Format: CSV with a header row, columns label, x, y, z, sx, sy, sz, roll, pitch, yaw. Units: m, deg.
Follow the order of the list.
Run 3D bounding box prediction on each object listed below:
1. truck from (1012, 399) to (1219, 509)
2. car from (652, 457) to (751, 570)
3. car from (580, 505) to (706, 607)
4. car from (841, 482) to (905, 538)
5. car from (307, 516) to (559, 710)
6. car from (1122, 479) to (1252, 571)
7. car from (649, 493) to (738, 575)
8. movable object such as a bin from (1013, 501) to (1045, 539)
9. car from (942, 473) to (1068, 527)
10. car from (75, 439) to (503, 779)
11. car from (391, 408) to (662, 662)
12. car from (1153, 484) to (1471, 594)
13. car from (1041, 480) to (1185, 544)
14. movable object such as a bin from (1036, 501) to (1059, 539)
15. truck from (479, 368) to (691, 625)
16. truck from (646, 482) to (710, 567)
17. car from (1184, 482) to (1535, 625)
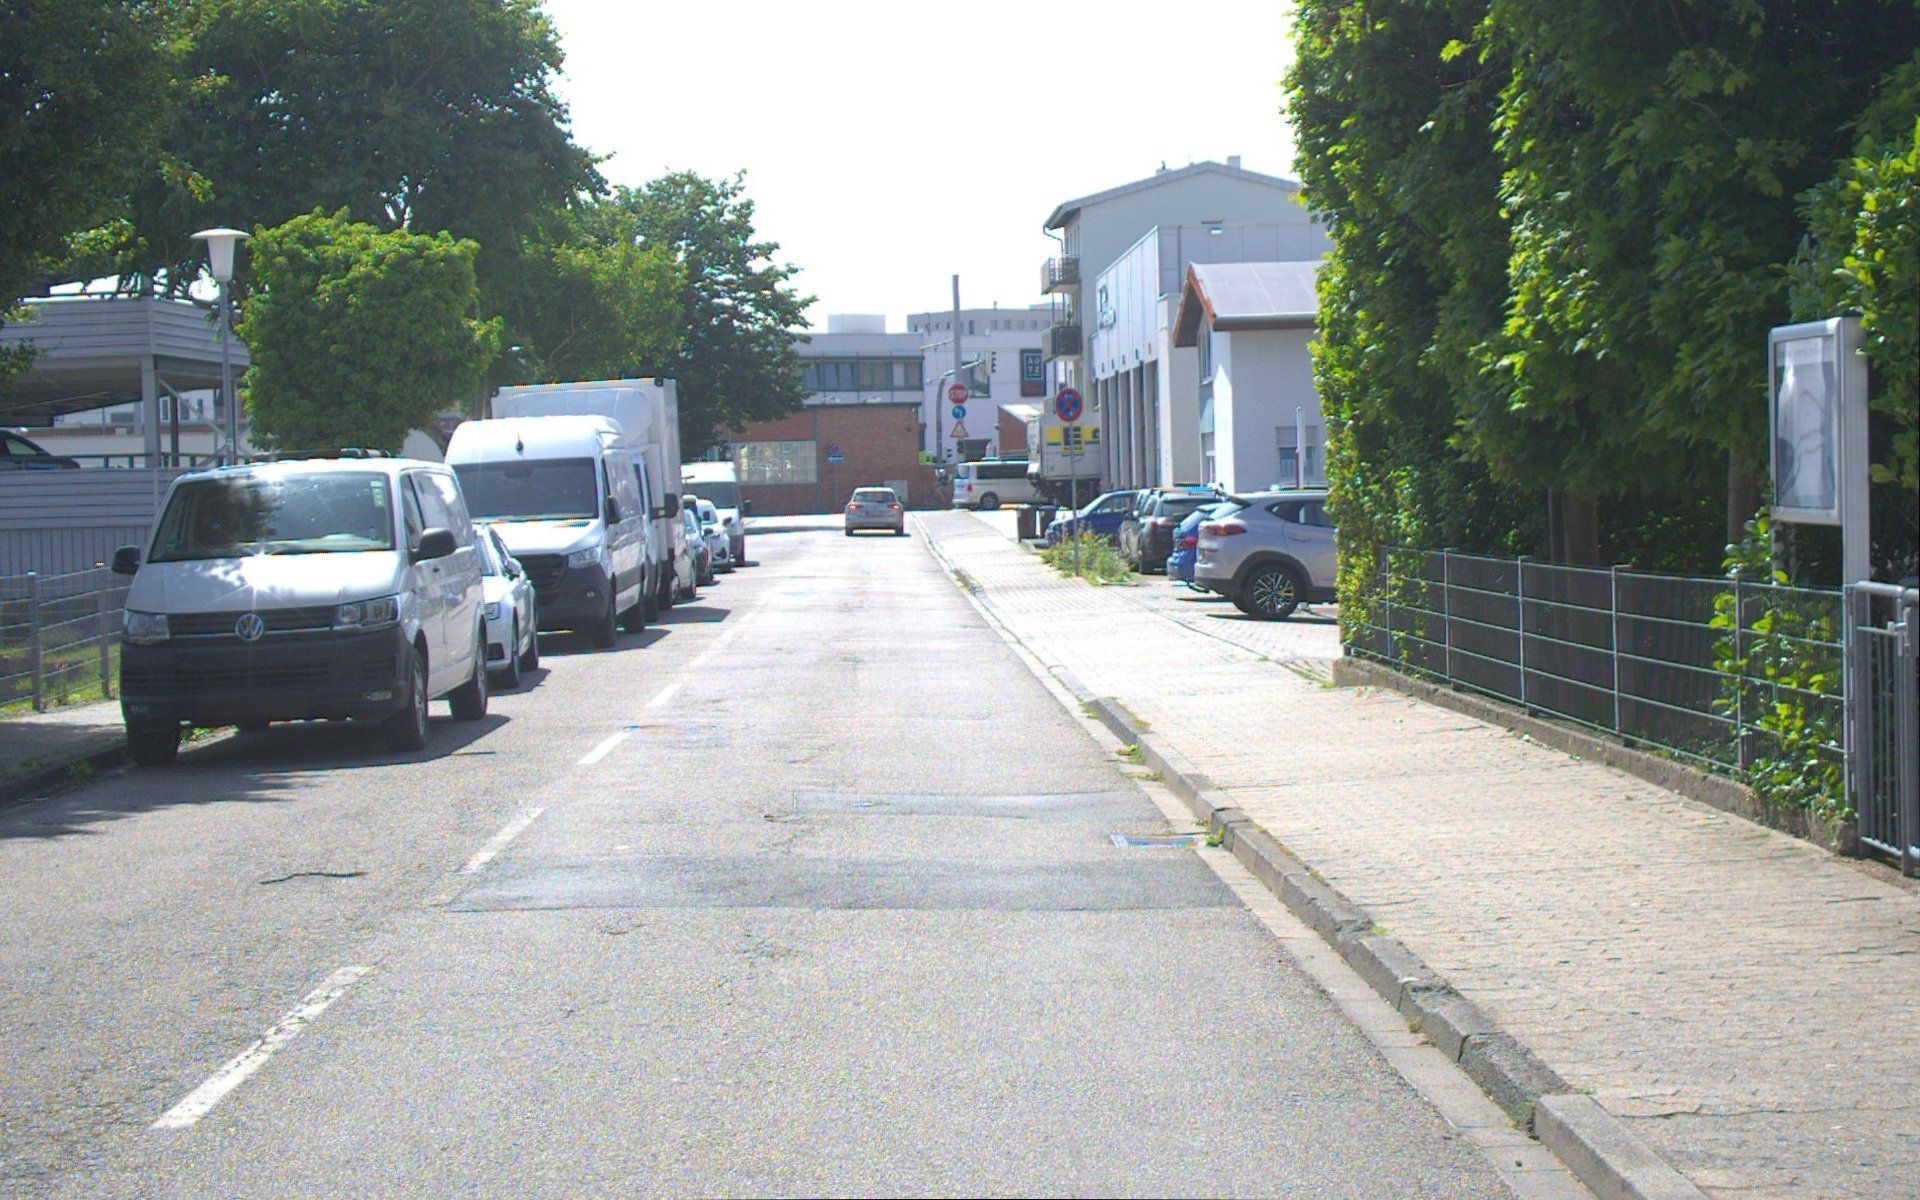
label,x,y,z,sx,sy,sz,roll,pitch,yaw
truck,5.936,-5.608,131.823,7.357,3.632,2.768,-5,3,-7
car,-5.888,-2.016,78.771,2.005,2.358,5.231,-4,2,-3
car,-5.162,-0.753,56.494,1.741,1.516,4.311,-2,2,-2
car,-2.711,-2.792,107.003,1.890,1.679,3.958,2,1,-2
car,-4.681,0.059,31.098,1.714,1.538,4.401,-3,1,-3
car,4.123,-1.420,63.235,1.858,1.562,4.952,-2,2,-2
car,-5.727,-1.437,73.611,1.704,1.618,3.975,-3,2,-6
movable object such as a bin,1.774,-2.057,88.235,0.568,0.943,0.556,-1,3,32
car,1.833,-4.072,140.042,4.653,1.951,1.917,-3,1,-20
car,-4.508,-0.003,23.921,1.971,2.006,5.057,-3,1,-1
car,-4.894,-0.766,39.895,2.168,2.587,6.921,-3,1,0
car,5.092,-0.900,50.068,4.352,1.436,1.892,-2,2,-2
car,3.570,-2.070,80.658,3.253,1.394,1.673,-2,2,-1
movable object such as a bin,2.259,-2.059,88.654,0.514,0.943,0.487,-2,2,10
truck,-5.319,-1.472,49.802,2.685,3.354,7.131,-2,1,-4
truck,-5.735,-1.549,69.994,1.138,1.616,3.142,-4,2,-3
car,5.071,-0.604,44.015,4.200,1.676,1.767,2,2,-2
